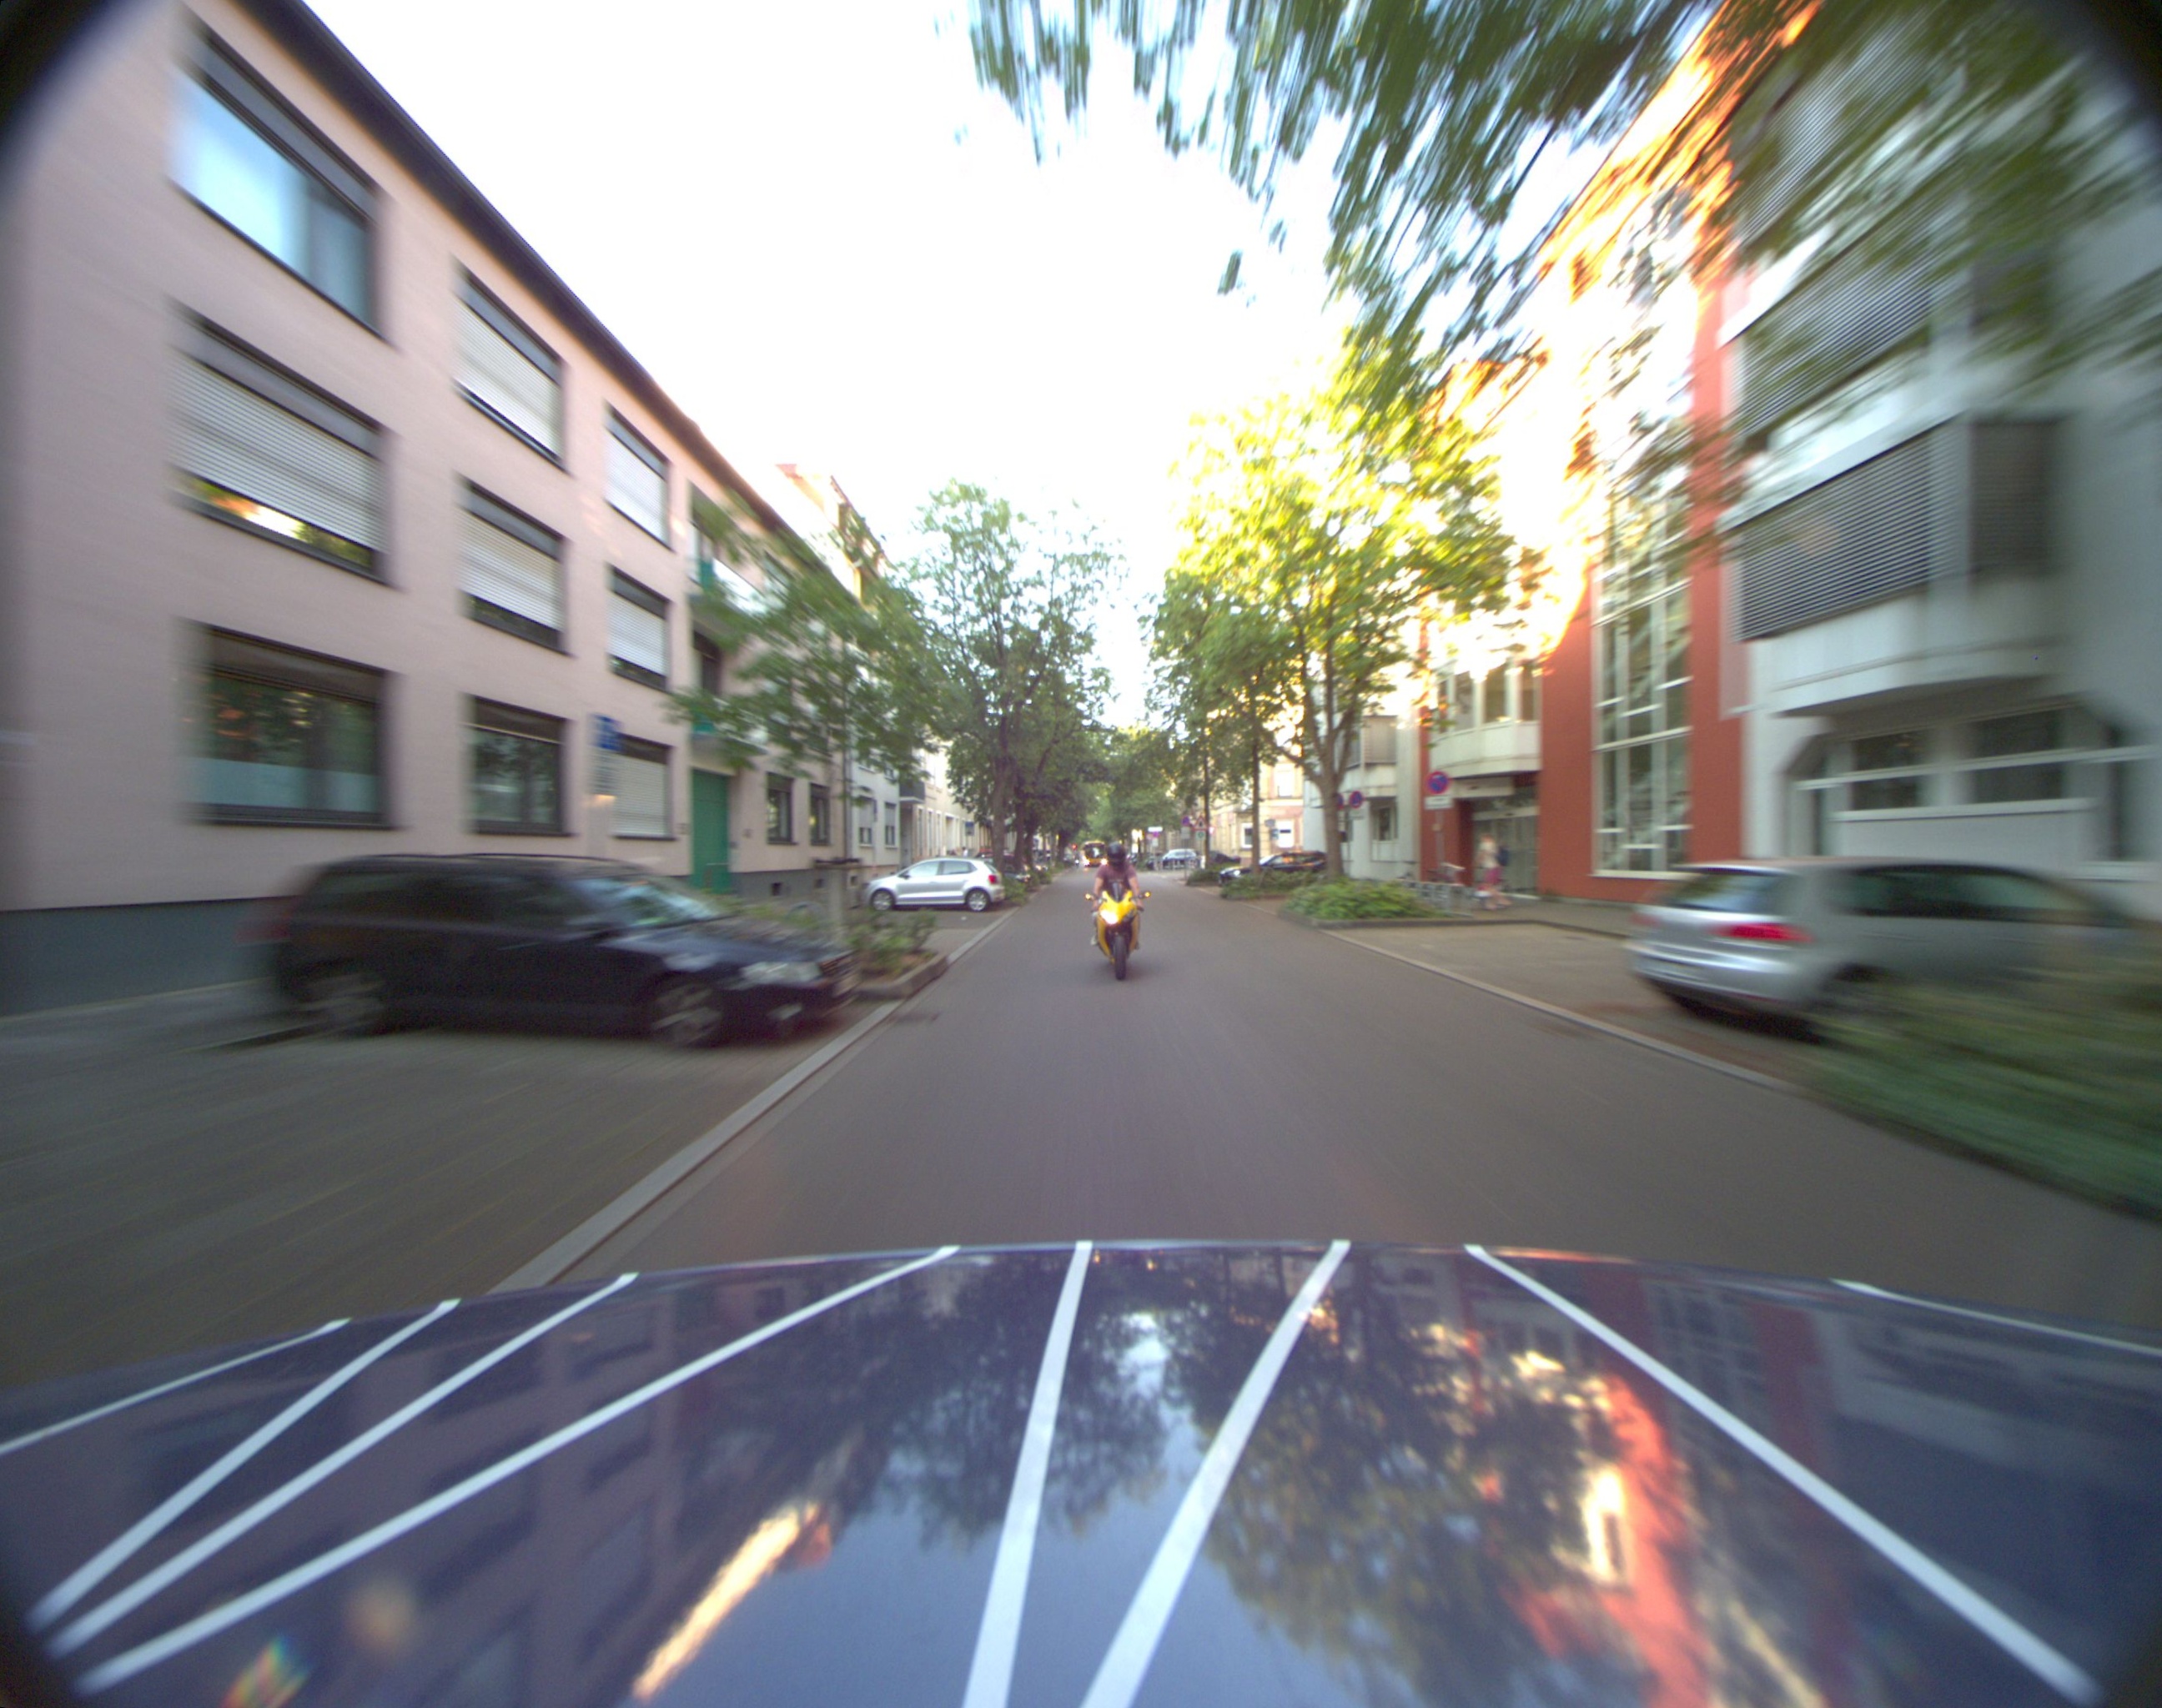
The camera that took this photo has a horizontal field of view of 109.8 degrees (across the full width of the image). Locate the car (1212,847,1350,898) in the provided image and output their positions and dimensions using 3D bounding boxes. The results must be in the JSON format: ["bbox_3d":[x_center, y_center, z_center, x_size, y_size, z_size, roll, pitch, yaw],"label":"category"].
[{"bbox_3d":[7.126,0.630,27.298,4.475,1.748,1.790,0,1,-3],"label":"car"}]

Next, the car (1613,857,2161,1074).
[{"bbox_3d":[7.079,0.835,6.340,4.063,1.519,1.622,-1,1,4],"label":"car"}]

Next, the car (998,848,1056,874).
[{"bbox_3d":[-3.806,0.471,53.917,3.998,1.752,1.999,0,1,-2],"label":"car"}]

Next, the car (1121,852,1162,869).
[{"bbox_3d":[6.217,0.659,78.055,3.998,1.752,1.999,0,1,-2],"label":"car"}]

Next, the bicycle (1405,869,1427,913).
[{"bbox_3d":[8.244,0.895,18.687,0.454,0.981,1.758,0,1,25],"label":"bicycle"}]

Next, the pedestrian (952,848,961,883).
[{"bbox_3d":[-7.182,0.654,43.758,0.449,2.002,0.485,0,1,1],"label":"pedestrian"}]

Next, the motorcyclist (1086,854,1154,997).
[{"bbox_3d":[0.445,0.813,9.056,0.722,1.605,0.915,-1,1,-2],"label":"motorcyclist"}]

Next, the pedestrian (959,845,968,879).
[{"bbox_3d":[-6.824,0.464,44.268,0.449,2.002,0.485,0,1,1],"label":"pedestrian"}]

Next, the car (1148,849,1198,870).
[{"bbox_3d":[7.530,0.439,62.274,3.858,1.623,1.675,1,1,1],"label":"car"}]

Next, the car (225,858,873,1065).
[{"bbox_3d":[-4.399,0.831,6.738,4.594,1.461,1.696,1,1,2],"label":"car"}]

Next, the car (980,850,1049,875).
[{"bbox_3d":[-3.838,0.493,44.340,3.858,1.390,1.675,1,1,1],"label":"car"}]

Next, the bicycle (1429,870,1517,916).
[{"bbox_3d":[8.994,0.874,17.483,0.456,0.981,1.750,-1,1,-43],"label":"bicycle"}]

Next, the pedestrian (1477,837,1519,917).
[{"bbox_3d":[9.253,0.506,16.880,0.637,1.734,0.679,0,1,9],"label":"pedestrian"}]

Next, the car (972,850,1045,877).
[{"bbox_3d":[-4.004,0.509,42.255,3.858,1.390,1.675,1,1,1],"label":"car"}]

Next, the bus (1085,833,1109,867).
[{"bbox_3d":[1.930,-0.509,93.941,2.833,4.086,7.831,0,0,1],"label":"bus"}]

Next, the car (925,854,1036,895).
[{"bbox_3d":[-3.721,0.754,28.526,3.857,1.390,1.675,1,1,4],"label":"car"}]

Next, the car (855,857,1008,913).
[{"bbox_3d":[-3.959,0.821,20.634,3.859,1.390,1.674,1,1,-3],"label":"car"}]

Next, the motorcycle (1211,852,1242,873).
[{"bbox_3d":[8.262,0.466,43.044,1.626,1.136,0.572,-3,1,3],"label":"motorcycle"}]

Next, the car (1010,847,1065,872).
[{"bbox_3d":[-3.172,0.398,56.219,3.998,1.752,1.999,0,1,-2],"label":"car"}]

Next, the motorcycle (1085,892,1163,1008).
[{"bbox_3d":[0.460,1.074,9.138,0.736,1.115,2.107,-1,1,-2],"label":"motorcycle"}]

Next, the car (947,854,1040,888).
[{"bbox_3d":[-3.829,0.734,33.634,3.858,1.390,1.675,1,1,1],"label":"car"}]
